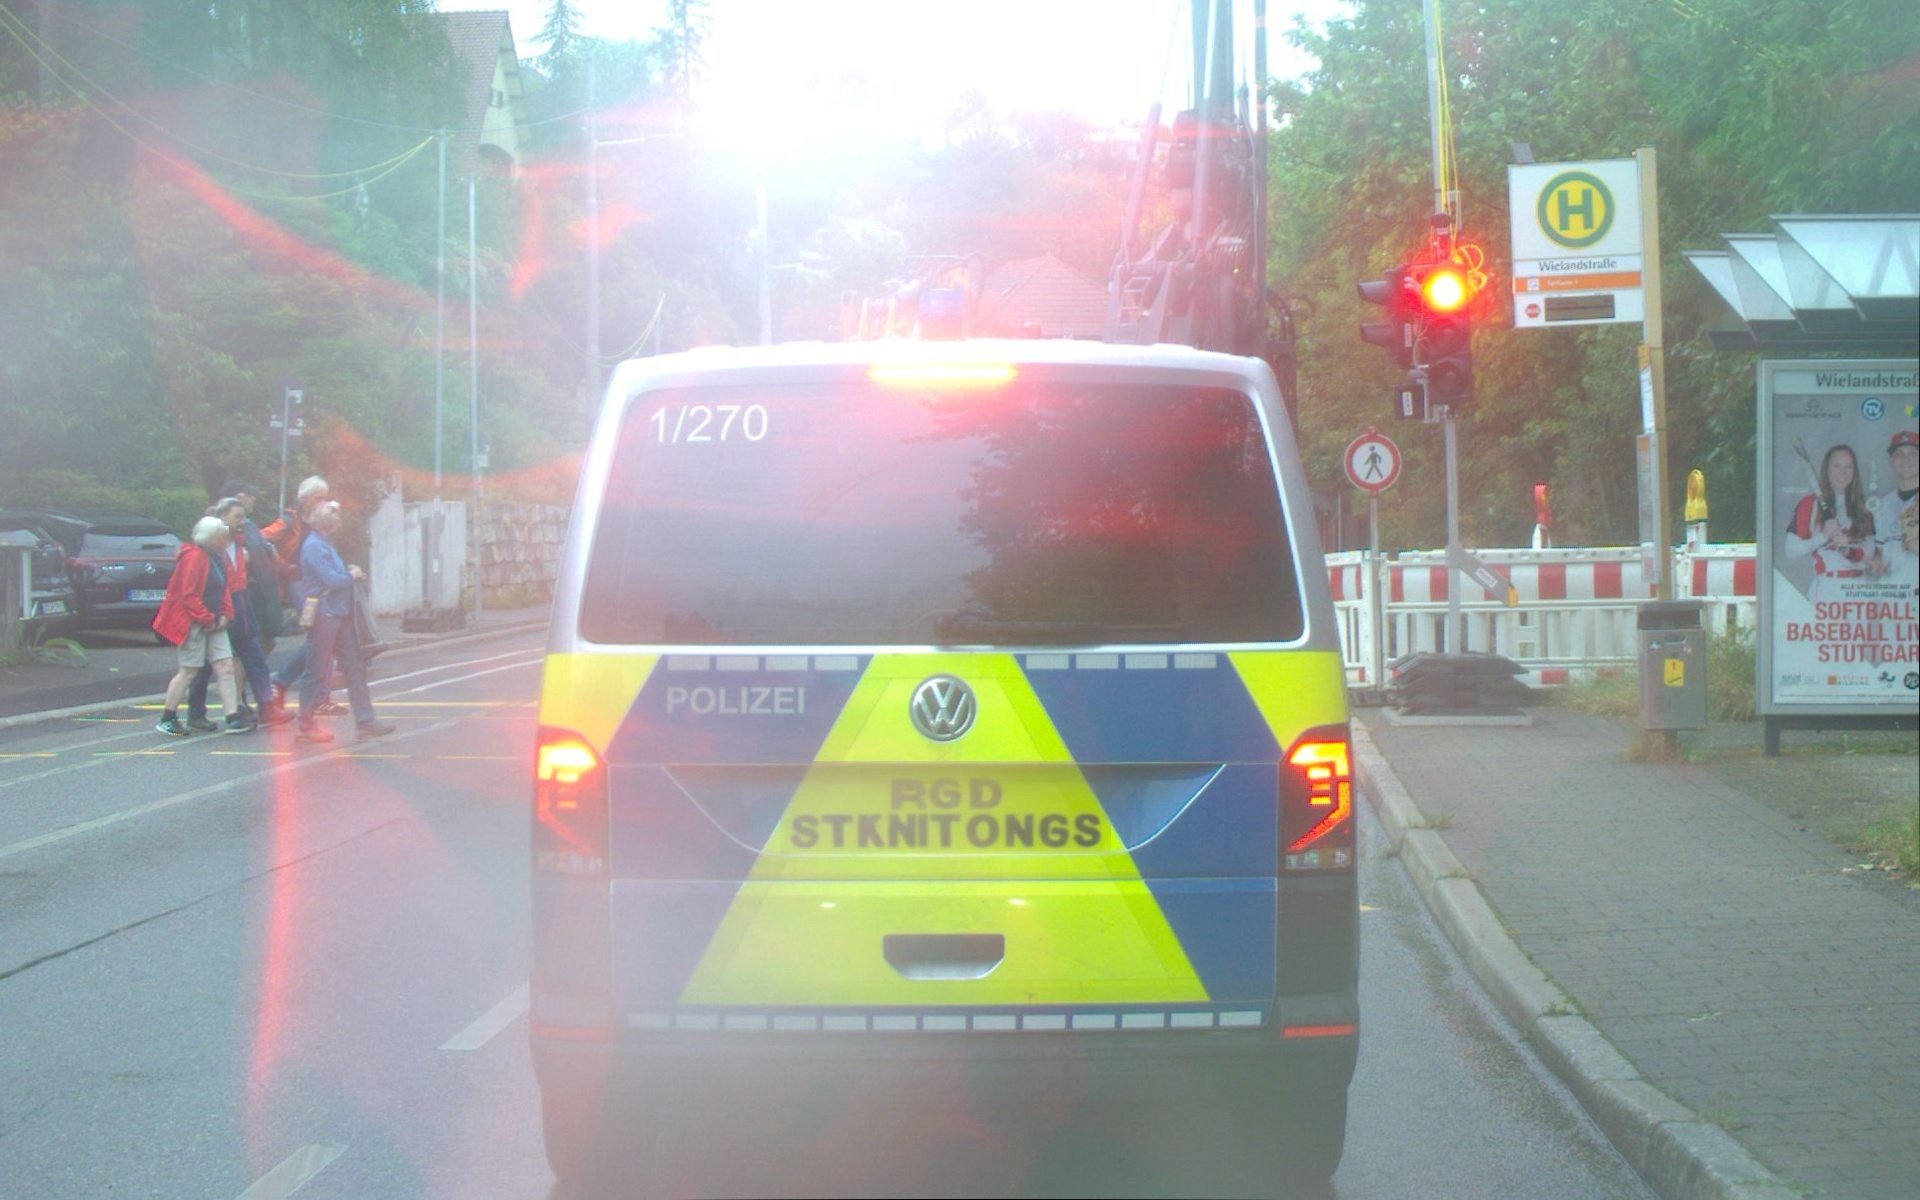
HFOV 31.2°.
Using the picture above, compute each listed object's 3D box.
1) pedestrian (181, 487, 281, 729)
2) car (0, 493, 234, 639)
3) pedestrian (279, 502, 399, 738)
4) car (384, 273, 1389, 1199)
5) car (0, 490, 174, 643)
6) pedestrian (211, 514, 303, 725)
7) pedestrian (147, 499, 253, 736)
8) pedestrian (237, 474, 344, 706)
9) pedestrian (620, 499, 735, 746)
[{"bbox_3d":[-5.080,0.058,23.960,0.549,1.662,0.414,2,-1,2],"label":"pedestrian"},{"bbox_3d":[-10.117,-0.373,37.254,3.989,1.481,1.759,1,-1,11],"label":"car"},{"bbox_3d":[-4.089,0.132,22.657,0.626,1.517,0.593,2,-1,2],"label":"pedestrian"},{"bbox_3d":[-0.040,0.286,9.085,1.994,2.006,4.402,1,2,3],"label":"car"},{"bbox_3d":[-10.278,-0.361,35.105,3.989,1.481,1.759,1,-1,11],"label":"car"},{"bbox_3d":[-5.104,0.142,24.976,0.525,1.502,0.429,2,-1,2],"label":"pedestrian"},{"bbox_3d":[-5.157,0.119,23.350,0.563,1.577,0.468,2,-1,2],"label":"pedestrian"},{"bbox_3d":[-5.029,-0.070,25.848,0.626,1.709,0.593,2,-1,2],"label":"pedestrian"},{"bbox_3d":[-1.869,0.151,22.800,0.686,1.598,0.606,2,-1,-1],"label":"pedestrian"}]
